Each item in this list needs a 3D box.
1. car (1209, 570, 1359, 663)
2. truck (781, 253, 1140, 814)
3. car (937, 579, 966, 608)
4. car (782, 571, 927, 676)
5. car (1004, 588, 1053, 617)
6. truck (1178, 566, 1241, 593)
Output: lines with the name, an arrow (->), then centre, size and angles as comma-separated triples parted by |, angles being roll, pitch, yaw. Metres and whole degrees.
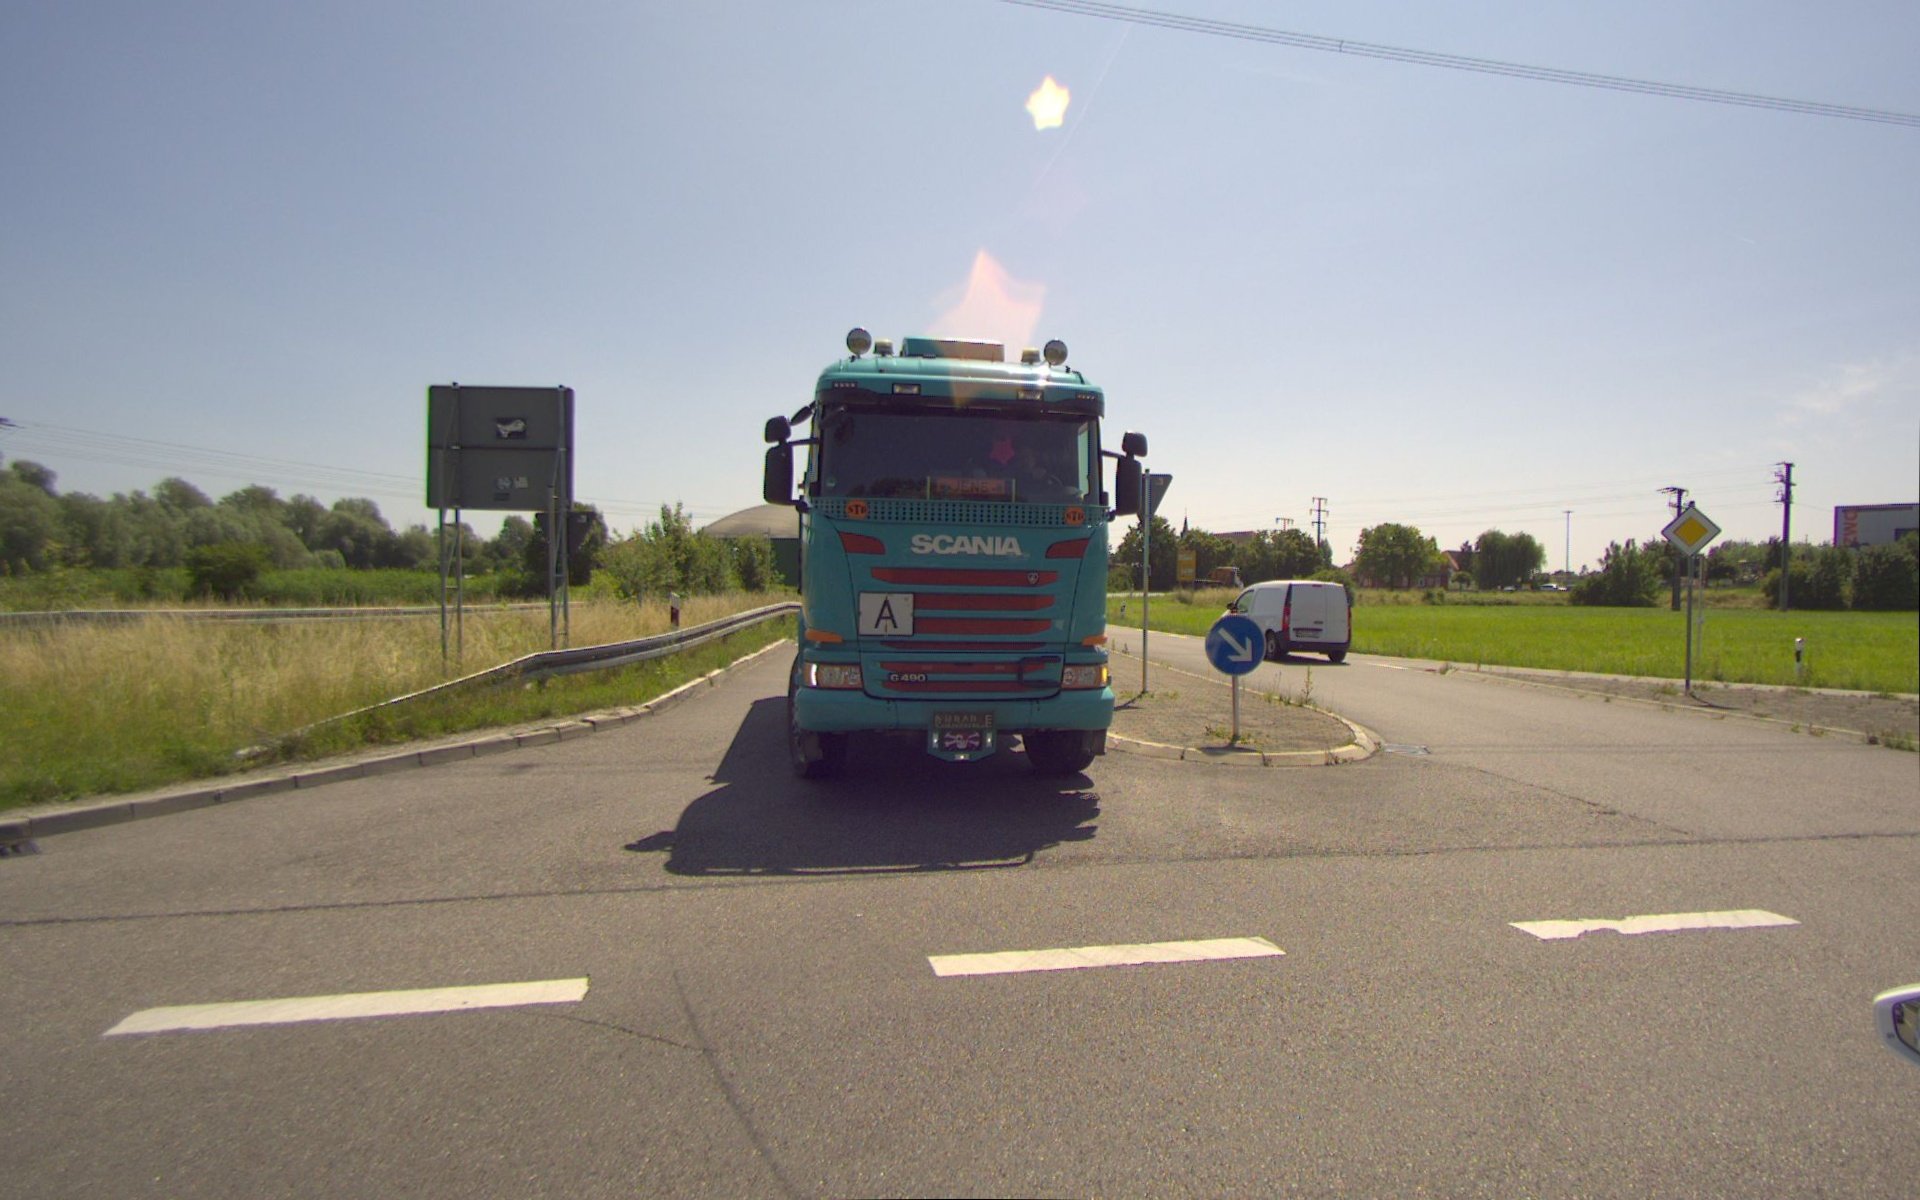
car -> 7.565, 0.364, 23.873 | 1.799, 1.997, 3.995 | 2, 0, -8
truck -> -0.581, -0.529, 10.899 | 2.453, 3.785, 7.916 | 1, 2, -9
car -> -0.561, -0.397, 60.920 | 1.514, 1.635, 4.283 | 1, 1, -3
car -> -1.755, 0.345, 18.229 | 1.928, 1.634, 4.557 | 1, 1, 3
car -> 3.502, 0.098, 51.975 | 2.053, 1.378, 4.393 | 1, 1, -2
truck -> 28.053, -2.221, 112.808 | 3.338, 2.702, 9.163 | 0, -1, 39
